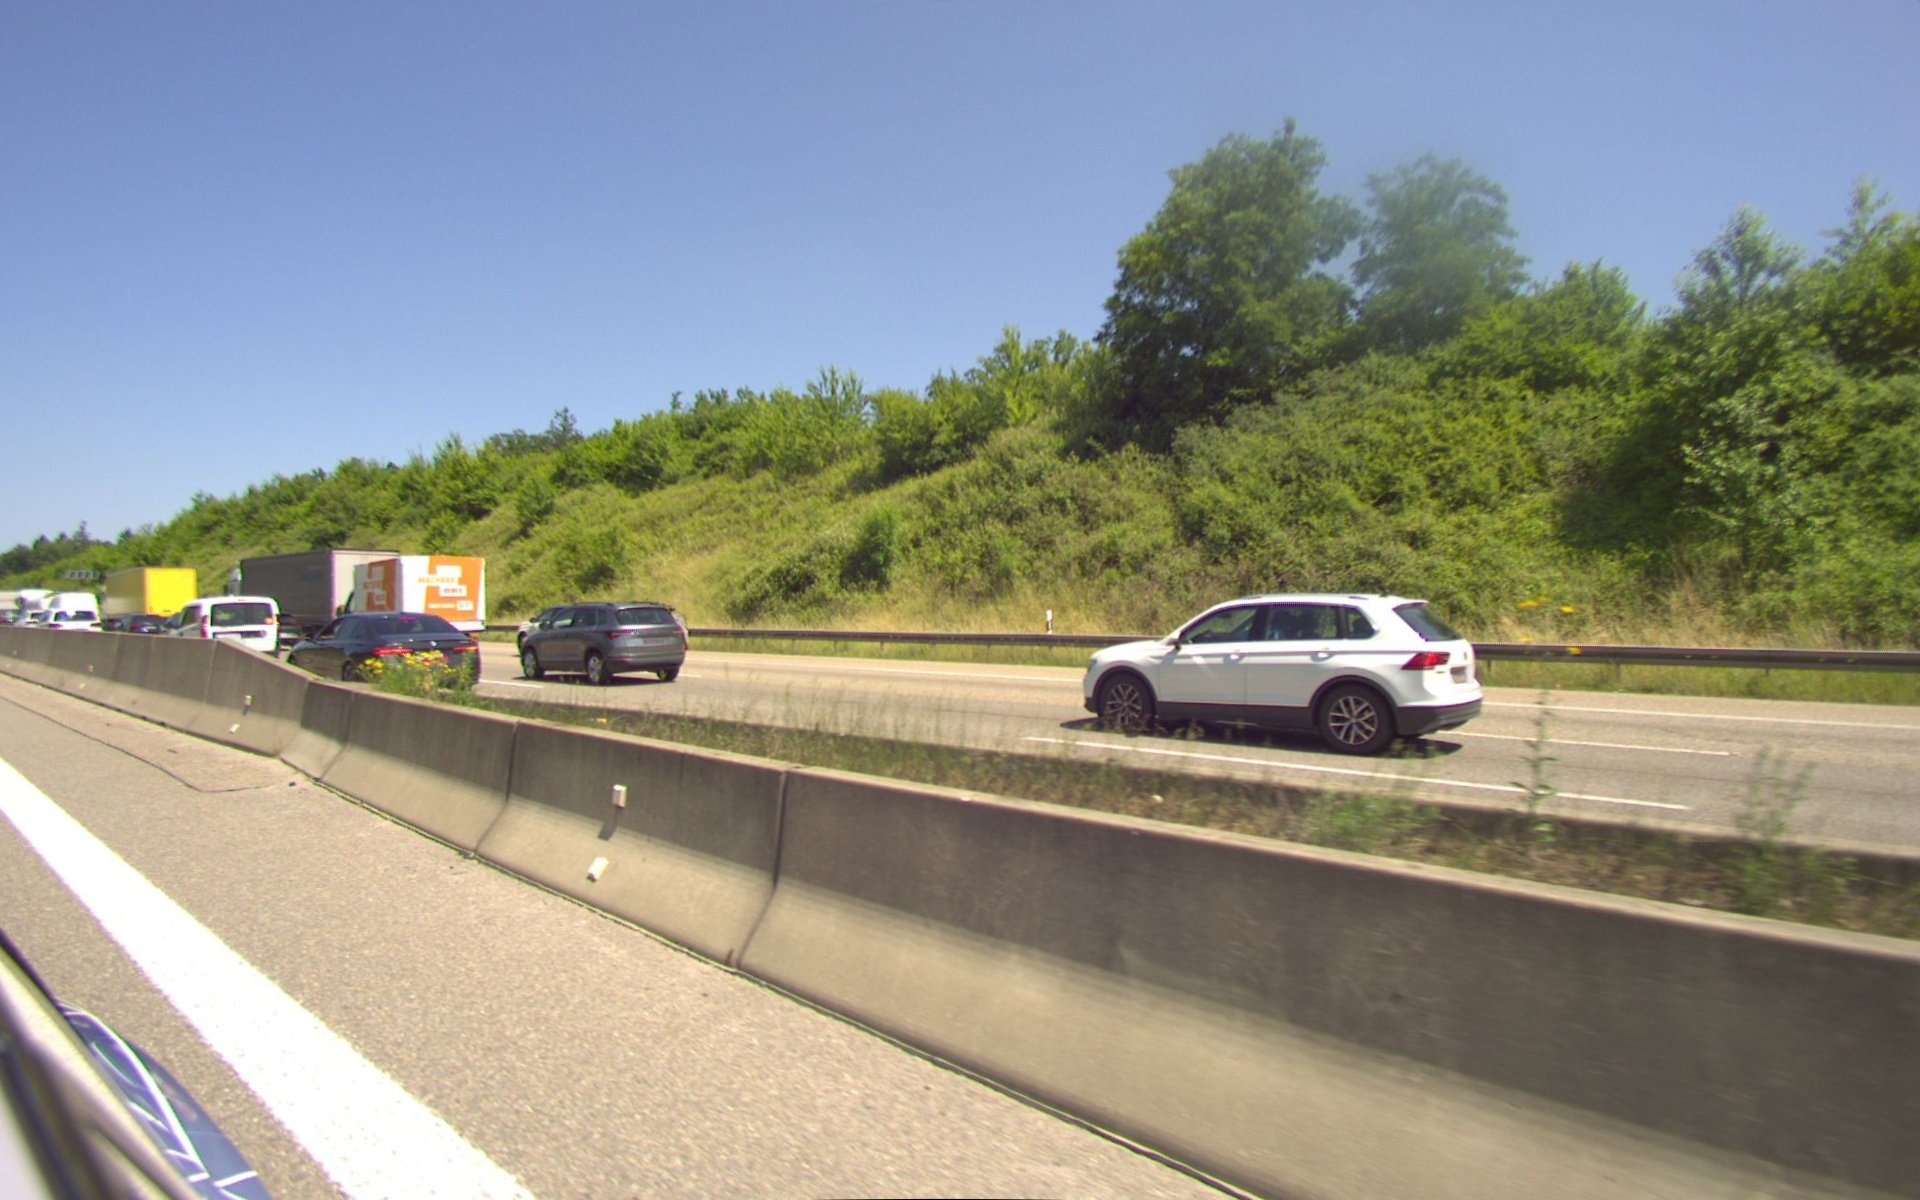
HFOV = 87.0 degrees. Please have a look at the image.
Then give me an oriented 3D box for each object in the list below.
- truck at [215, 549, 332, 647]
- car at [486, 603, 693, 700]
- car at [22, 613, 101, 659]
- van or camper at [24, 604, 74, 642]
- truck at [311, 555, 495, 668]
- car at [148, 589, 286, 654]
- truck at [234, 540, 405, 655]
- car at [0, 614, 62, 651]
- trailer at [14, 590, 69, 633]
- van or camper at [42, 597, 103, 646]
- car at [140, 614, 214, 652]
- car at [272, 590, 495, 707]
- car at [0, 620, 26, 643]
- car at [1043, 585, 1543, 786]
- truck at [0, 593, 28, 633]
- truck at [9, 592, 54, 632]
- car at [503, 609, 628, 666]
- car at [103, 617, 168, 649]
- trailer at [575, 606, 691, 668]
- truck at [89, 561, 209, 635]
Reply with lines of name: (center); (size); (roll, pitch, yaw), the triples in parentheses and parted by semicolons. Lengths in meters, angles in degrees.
truck: (-34.495, -0.083, 50.673); (8.604, 4.550, 2.911); (0, 0, 42)
car: (-7.786, 0.963, 20.996); (4.987, 1.778, 1.809); (0, 0, 40)
car: (-37.770, 1.469, 42.491); (4.987, 1.778, 1.809); (0, 0, 40)
van or camper: (-70.237, 1.714, 77.975); (7.217, 2.796, 2.227); (0, 0, 43)
truck: (-16.072, 0.308, 29.001); (6.751, 2.866, 2.541); (0, 0, 42)
car: (-19.680, 0.527, 26.715); (5.107, 1.576, 1.809); (0, 0, 40)
truck: (-29.403, -0.080, 45.979); (13.922, 4.577, 2.963); (0, 0, 42)
car: (-48.846, 1.668, 53.186); (4.987, 1.778, 1.809); (0, 0, 40)
trailer: (-85.523, 1.134, 94.157); (10.675, 3.761, 2.583); (-2, -1, 41)
van or camper: (-56.870, 1.347, 64.809); (7.534, 2.961, 2.173); (0, 0, 43)
car: (-34.835, 1.432, 45.004); (4.446, 1.569, 1.778); (0, 0, 41)
car: (-10.228, 0.750, 17.790); (4.987, 1.778, 1.809); (0, 0, 40)
car: (-79.820, 2.614, 84.565); (4.755, 1.741, 1.978); (0, 0, 40)
car: (3.474, 0.761, 11.250); (4.987, 1.778, 1.809); (0, 0, 40)
truck: (-113.394, 1.484, 118.983); (17.370, 4.490, 3.658); (0, 0, 41)
truck: (-90.233, 1.161, 98.337); (5.870, 3.771, 2.650); (0, 0, 42)
car: (-12.091, 1.080, 30.899); (4.367, 1.599, 1.715); (0, 0, 41)
car: (-42.778, 1.675, 52.471); (4.520, 1.576, 1.809); (0, 0, 40)
trailer: (-9.178, 0.988, 28.294); (3.220, 1.599, 1.677); (0, 0, 41)
truck: (-55.383, -0.092, 68.835); (16.670, 4.490, 3.657); (0, 0, 42)
